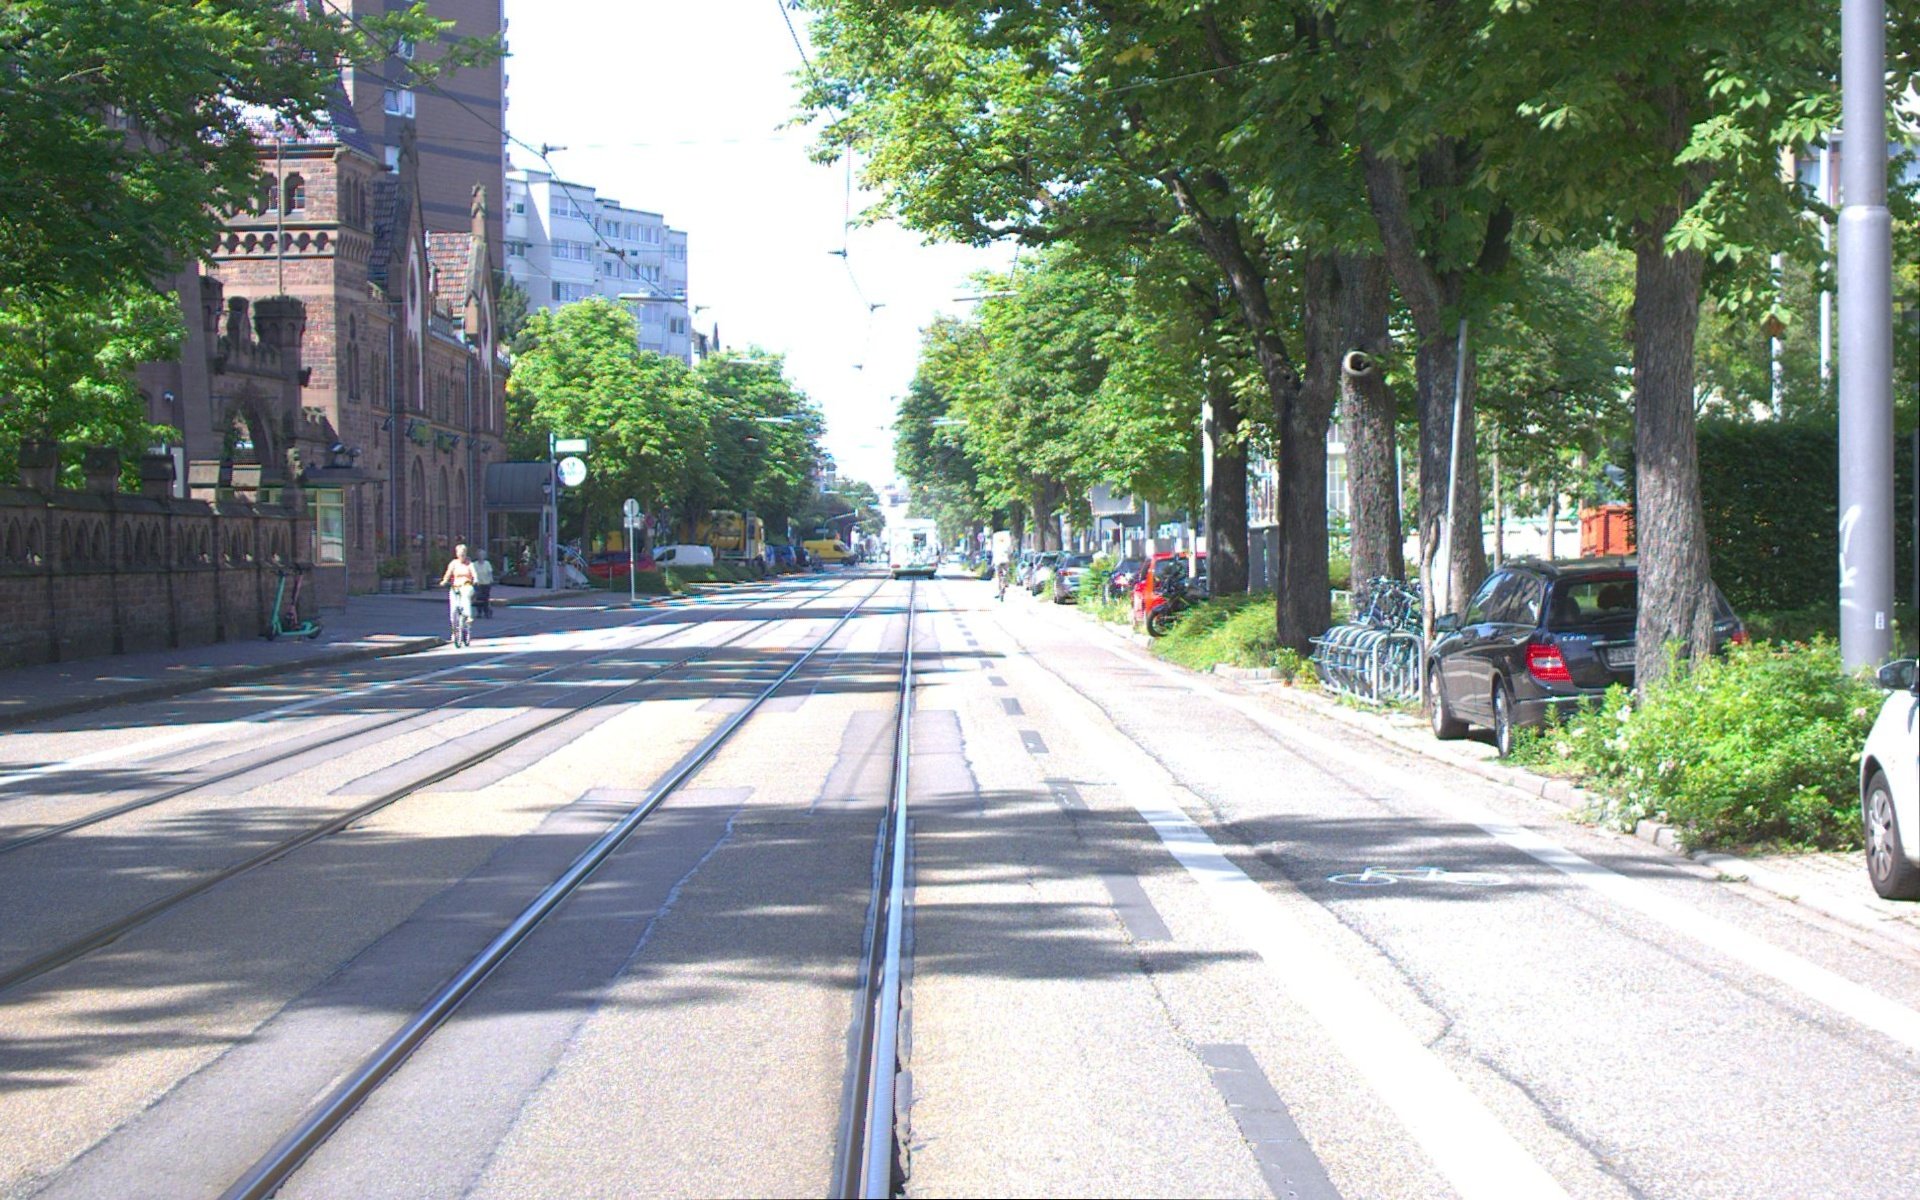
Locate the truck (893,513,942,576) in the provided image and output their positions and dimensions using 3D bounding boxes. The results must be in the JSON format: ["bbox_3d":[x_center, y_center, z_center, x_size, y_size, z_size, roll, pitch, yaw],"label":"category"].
[{"bbox_3d":[-2.124,-2.773,171.602,2.402,3.098,6.037,0,1,-1],"label":"truck"}]

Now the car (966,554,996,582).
[{"bbox_3d":[1.215,-1.885,201.102,1.630,1.563,4.114,-1,1,0],"label":"car"}]

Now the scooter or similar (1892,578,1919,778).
[{"bbox_3d":[5.816,0.458,20.115,0.401,1.169,1.158,0,0,0],"label":"scooter or similar"}]

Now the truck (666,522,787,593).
[{"bbox_3d":[-13.087,-2.394,193.902,2.816,3.846,9.989,0,1,21],"label":"truck"}]

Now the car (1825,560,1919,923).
[{"bbox_3d":[4.685,0.569,13.589,1.630,1.467,3.630,0,1,0],"label":"car"}]

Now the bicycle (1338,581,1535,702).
[{"bbox_3d":[4.441,0.380,32.110,1.724,1.082,0.697,-1,1,-1],"label":"bicycle"}]

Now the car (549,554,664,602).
[{"bbox_3d":[-13.563,-0.845,132.124,3.988,1.804,1.889,-1,1,-37],"label":"car"}]

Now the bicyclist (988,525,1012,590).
[{"bbox_3d":[1.154,-1.227,99.953,0.636,1.865,1.024,-1,1,-1],"label":"bicyclist"}]

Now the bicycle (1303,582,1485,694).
[{"bbox_3d":[4.331,0.373,34.398,1.724,1.082,0.615,-1,1,-1],"label":"bicycle"}]

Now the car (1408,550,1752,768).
[{"bbox_3d":[4.556,0.373,25.845,1.629,1.478,4.274,0,1,-2],"label":"car"}]

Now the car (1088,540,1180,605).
[{"bbox_3d":[3.754,-0.599,74.661,1.629,1.350,3.902,-1,1,-3],"label":"car"}]

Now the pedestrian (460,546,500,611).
[{"bbox_3d":[-11.299,-0.505,80.871,0.883,1.507,1.476,-1,0,-9],"label":"pedestrian"}]

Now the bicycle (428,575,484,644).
[{"bbox_3d":[-8.651,0.151,59.068,0.662,1.150,2.014,0,1,0],"label":"bicycle"}]

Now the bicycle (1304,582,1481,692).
[{"bbox_3d":[4.395,0.368,34.957,1.724,1.082,0.478,-1,1,-1],"label":"bicycle"}]

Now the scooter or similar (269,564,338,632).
[{"bbox_3d":[-10.916,-0.036,57.159,0.333,1.125,1.184,0,1,39],"label":"scooter or similar"}]

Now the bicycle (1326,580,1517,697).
[{"bbox_3d":[4.387,0.361,32.750,1.724,1.082,0.570,-1,1,-1],"label":"bicycle"}]

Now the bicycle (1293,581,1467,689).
[{"bbox_3d":[4.323,0.355,35.441,1.724,1.082,0.478,-1,1,-1],"label":"bicycle"}]

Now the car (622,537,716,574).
[{"bbox_3d":[-13.984,-2.121,165.142,3.987,1.744,2.000,-1,1,-31],"label":"car"}]

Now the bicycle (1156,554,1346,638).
[{"bbox_3d":[4.703,-0.070,55.736,3.028,1.327,1.041,0,0,3],"label":"bicycle"}]

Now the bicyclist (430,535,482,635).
[{"bbox_3d":[-8.643,-0.267,58.987,0.725,1.693,1.147,0,0,-1],"label":"bicyclist"}]

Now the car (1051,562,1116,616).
[{"bbox_3d":[3.432,-0.311,96.350,1.630,1.467,4.114,0,1,0],"label":"car"}]

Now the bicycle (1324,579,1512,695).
[{"bbox_3d":[4.436,0.354,33.345,1.724,1.082,0.589,-1,1,-1],"label":"bicycle"}]

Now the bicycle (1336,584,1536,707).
[{"bbox_3d":[4.344,0.407,31.451,1.724,1.082,0.629,-1,1,-1],"label":"bicycle"}]

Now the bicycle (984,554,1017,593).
[{"bbox_3d":[1.169,-0.781,99.677,0.855,1.106,2.139,0,1,-1],"label":"bicycle"}]

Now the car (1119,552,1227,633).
[{"bbox_3d":[3.992,-0.158,64.809,1.629,1.467,3.720,-1,1,-3],"label":"car"}]

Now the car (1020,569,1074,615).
[{"bbox_3d":[2.876,-0.292,114.241,1.630,1.467,4.114,-1,1,0],"label":"car"}]
